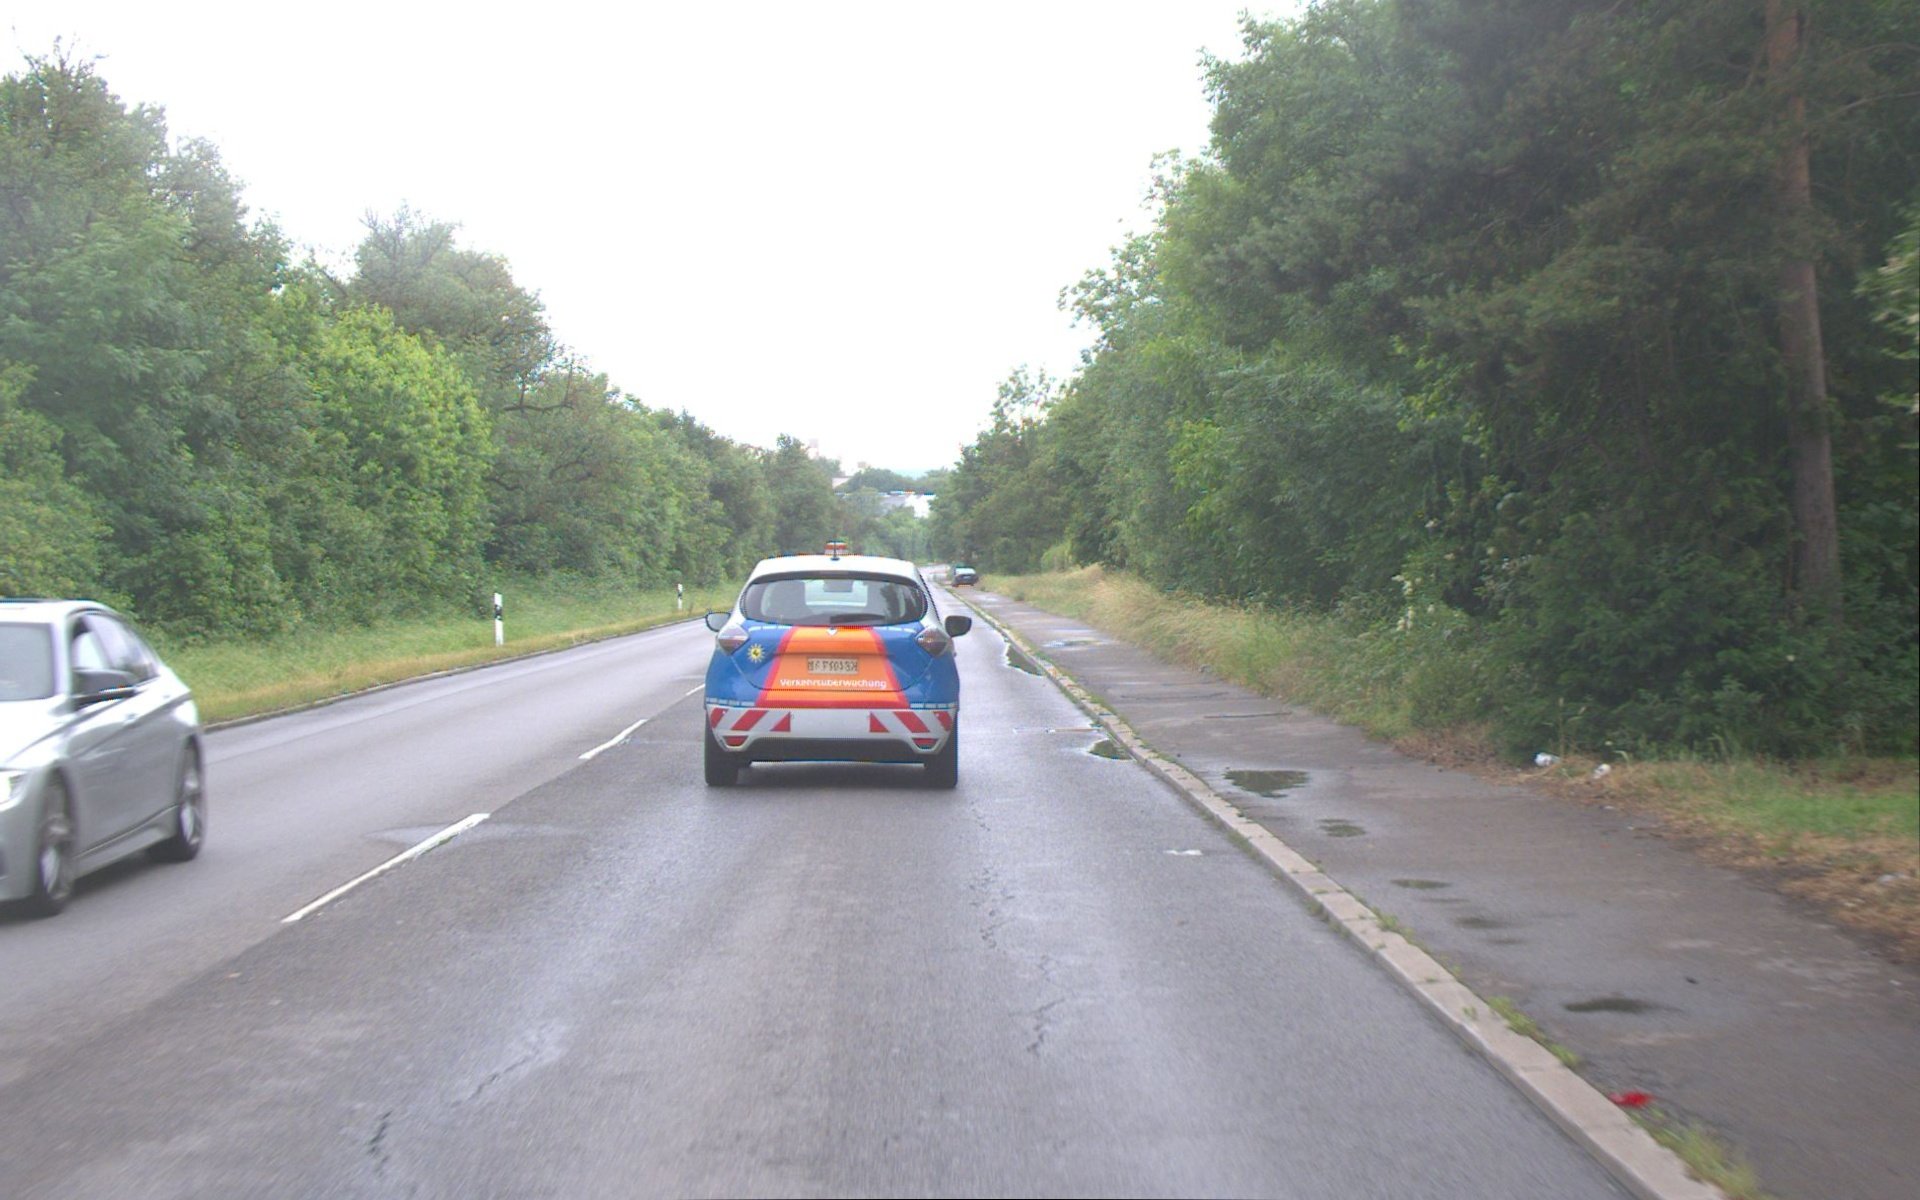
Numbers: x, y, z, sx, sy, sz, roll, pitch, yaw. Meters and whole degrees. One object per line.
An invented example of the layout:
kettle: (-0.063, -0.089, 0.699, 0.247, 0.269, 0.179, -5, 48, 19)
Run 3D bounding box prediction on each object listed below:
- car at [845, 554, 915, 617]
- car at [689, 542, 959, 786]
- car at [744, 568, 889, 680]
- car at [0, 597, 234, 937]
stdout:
car: (-2.358, -0.454, 102.073, 1.941, 1.717, 4.063, -2, 1, 0)
car: (-0.906, 0.383, 24.197, 1.752, 1.550, 3.793, 0, 1, -1)
car: (-1.733, 0.267, 42.294, 1.598, 1.282, 3.476, -2, 1, 0)
car: (-4.840, 0.706, 16.466, 1.891, 1.350, 4.382, -1, 1, -2)
